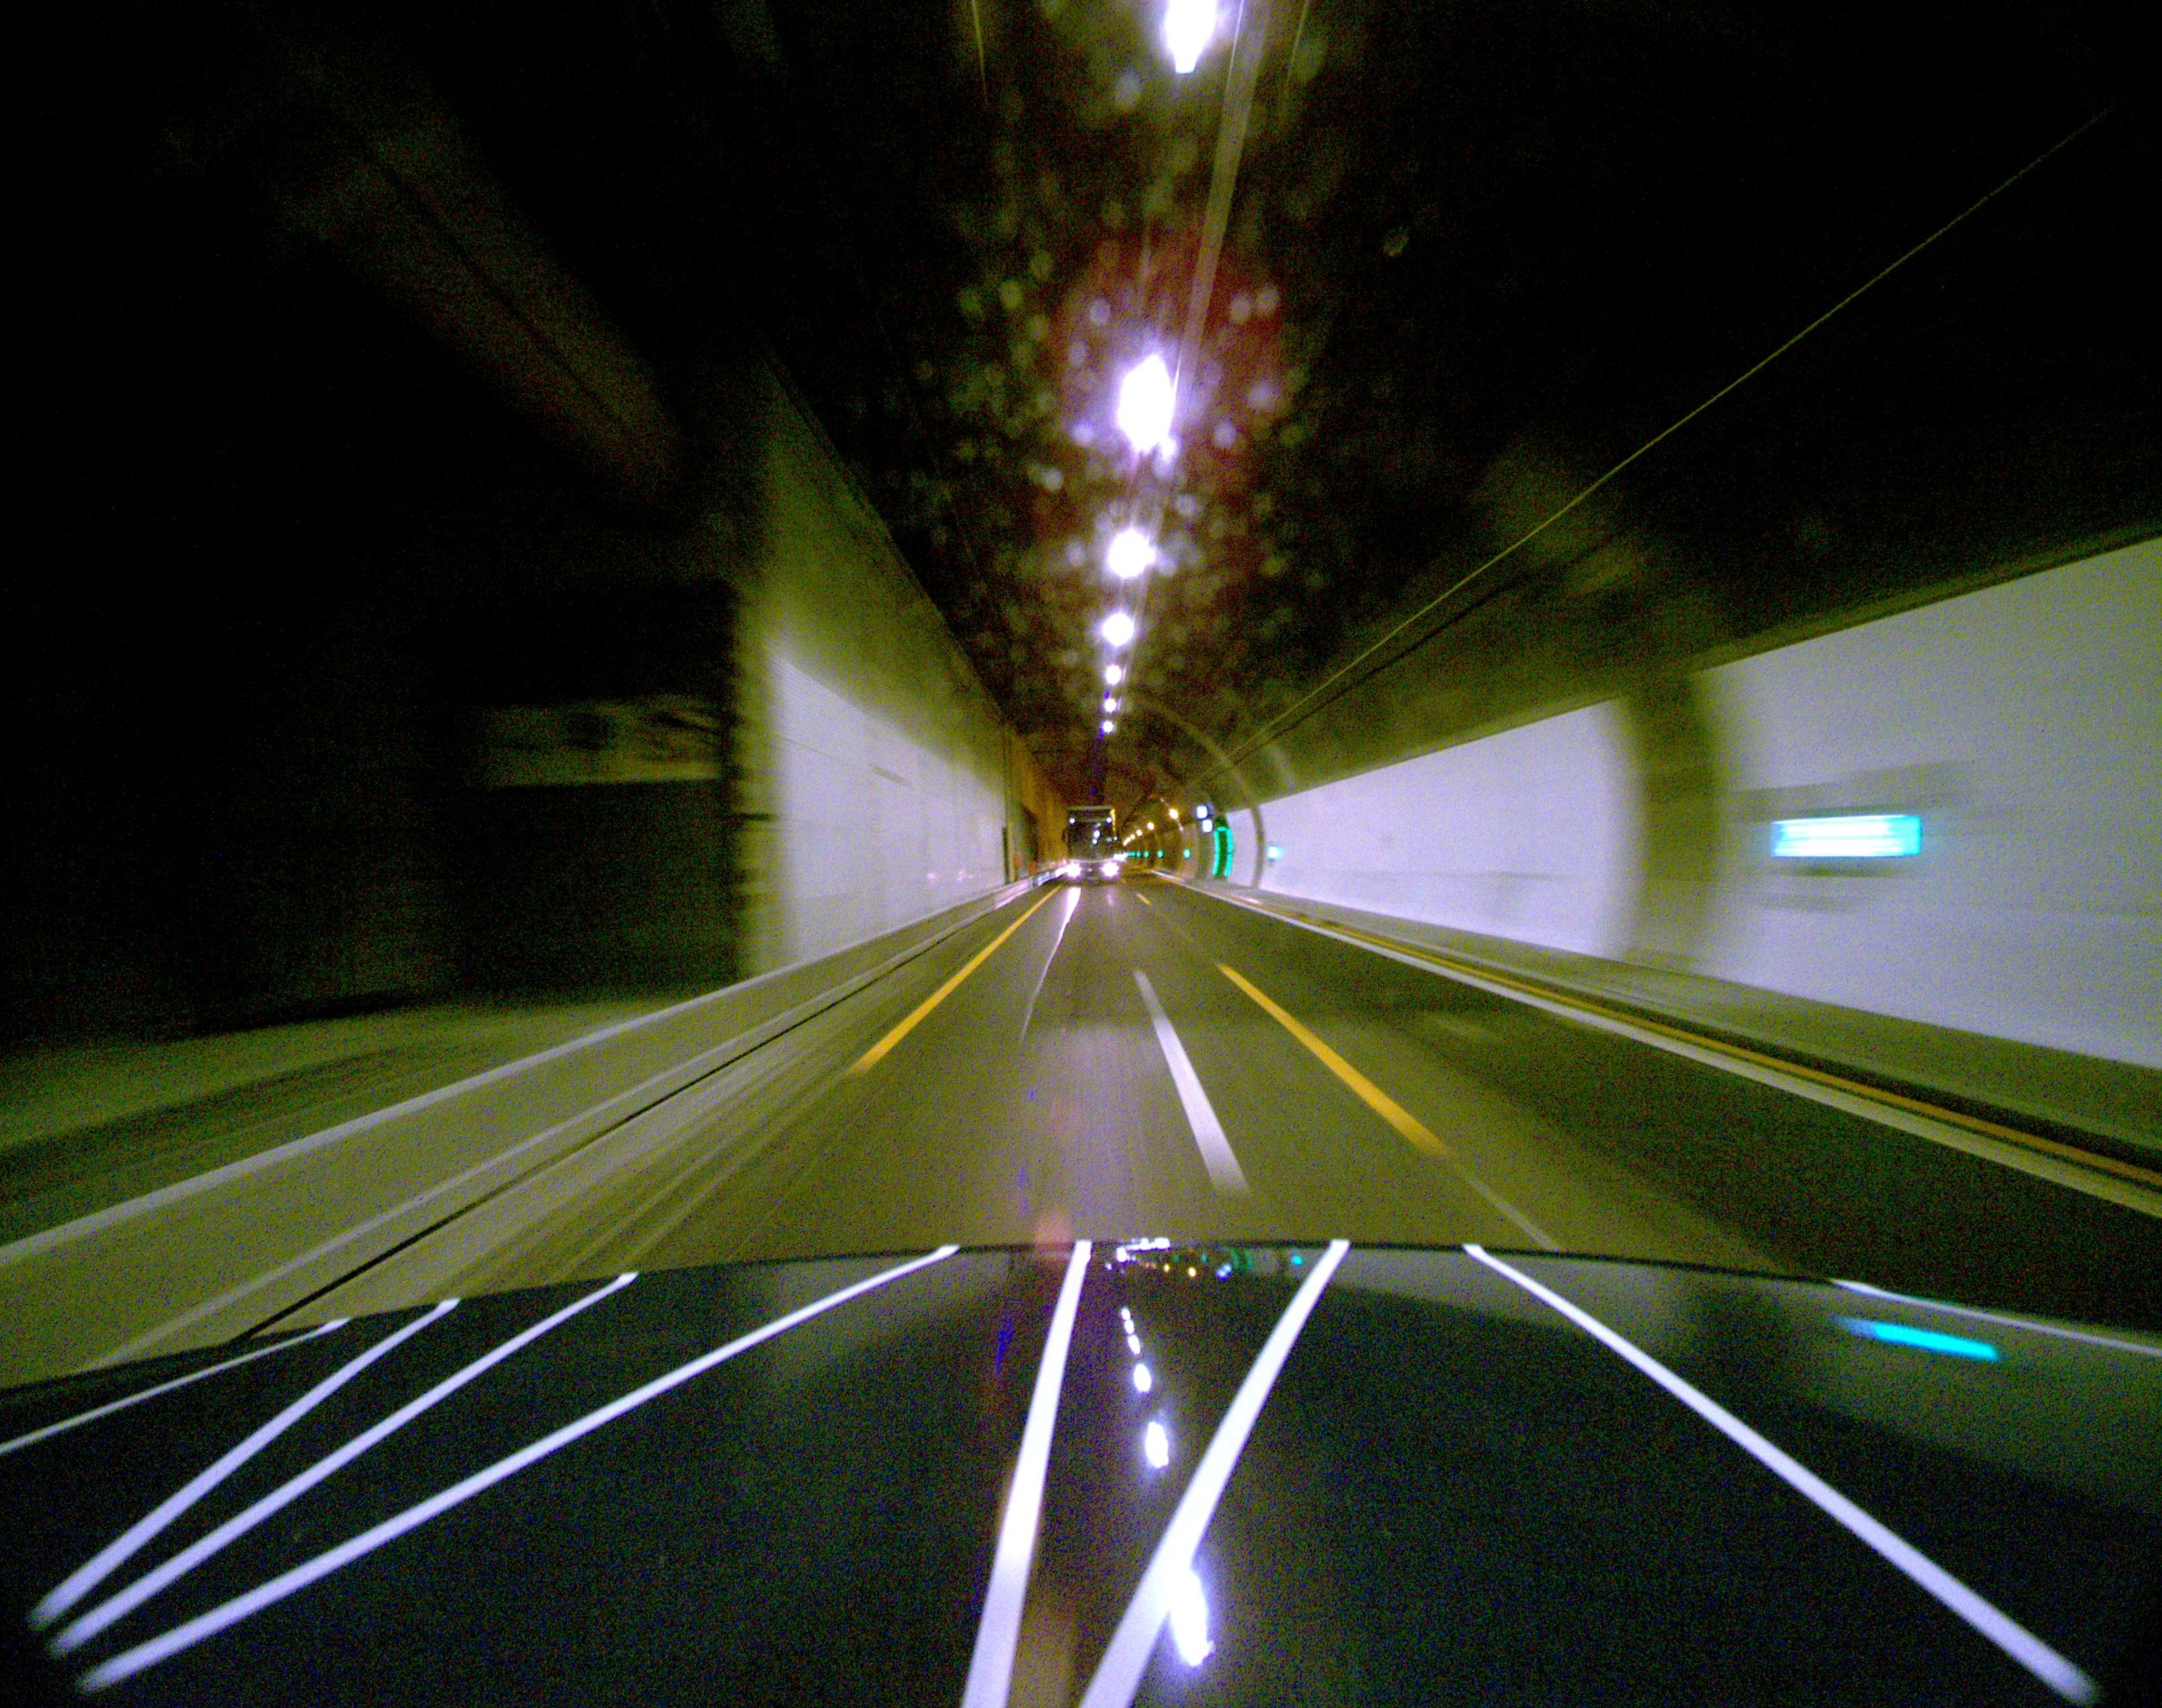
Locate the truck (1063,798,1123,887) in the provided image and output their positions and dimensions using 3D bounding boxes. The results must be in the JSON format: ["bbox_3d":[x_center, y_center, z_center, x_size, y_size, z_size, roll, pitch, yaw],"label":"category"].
[{"bbox_3d":[0.609,-0.567,40.147,2.769,4.198,7.976,-1,1,1],"label":"truck"}]
